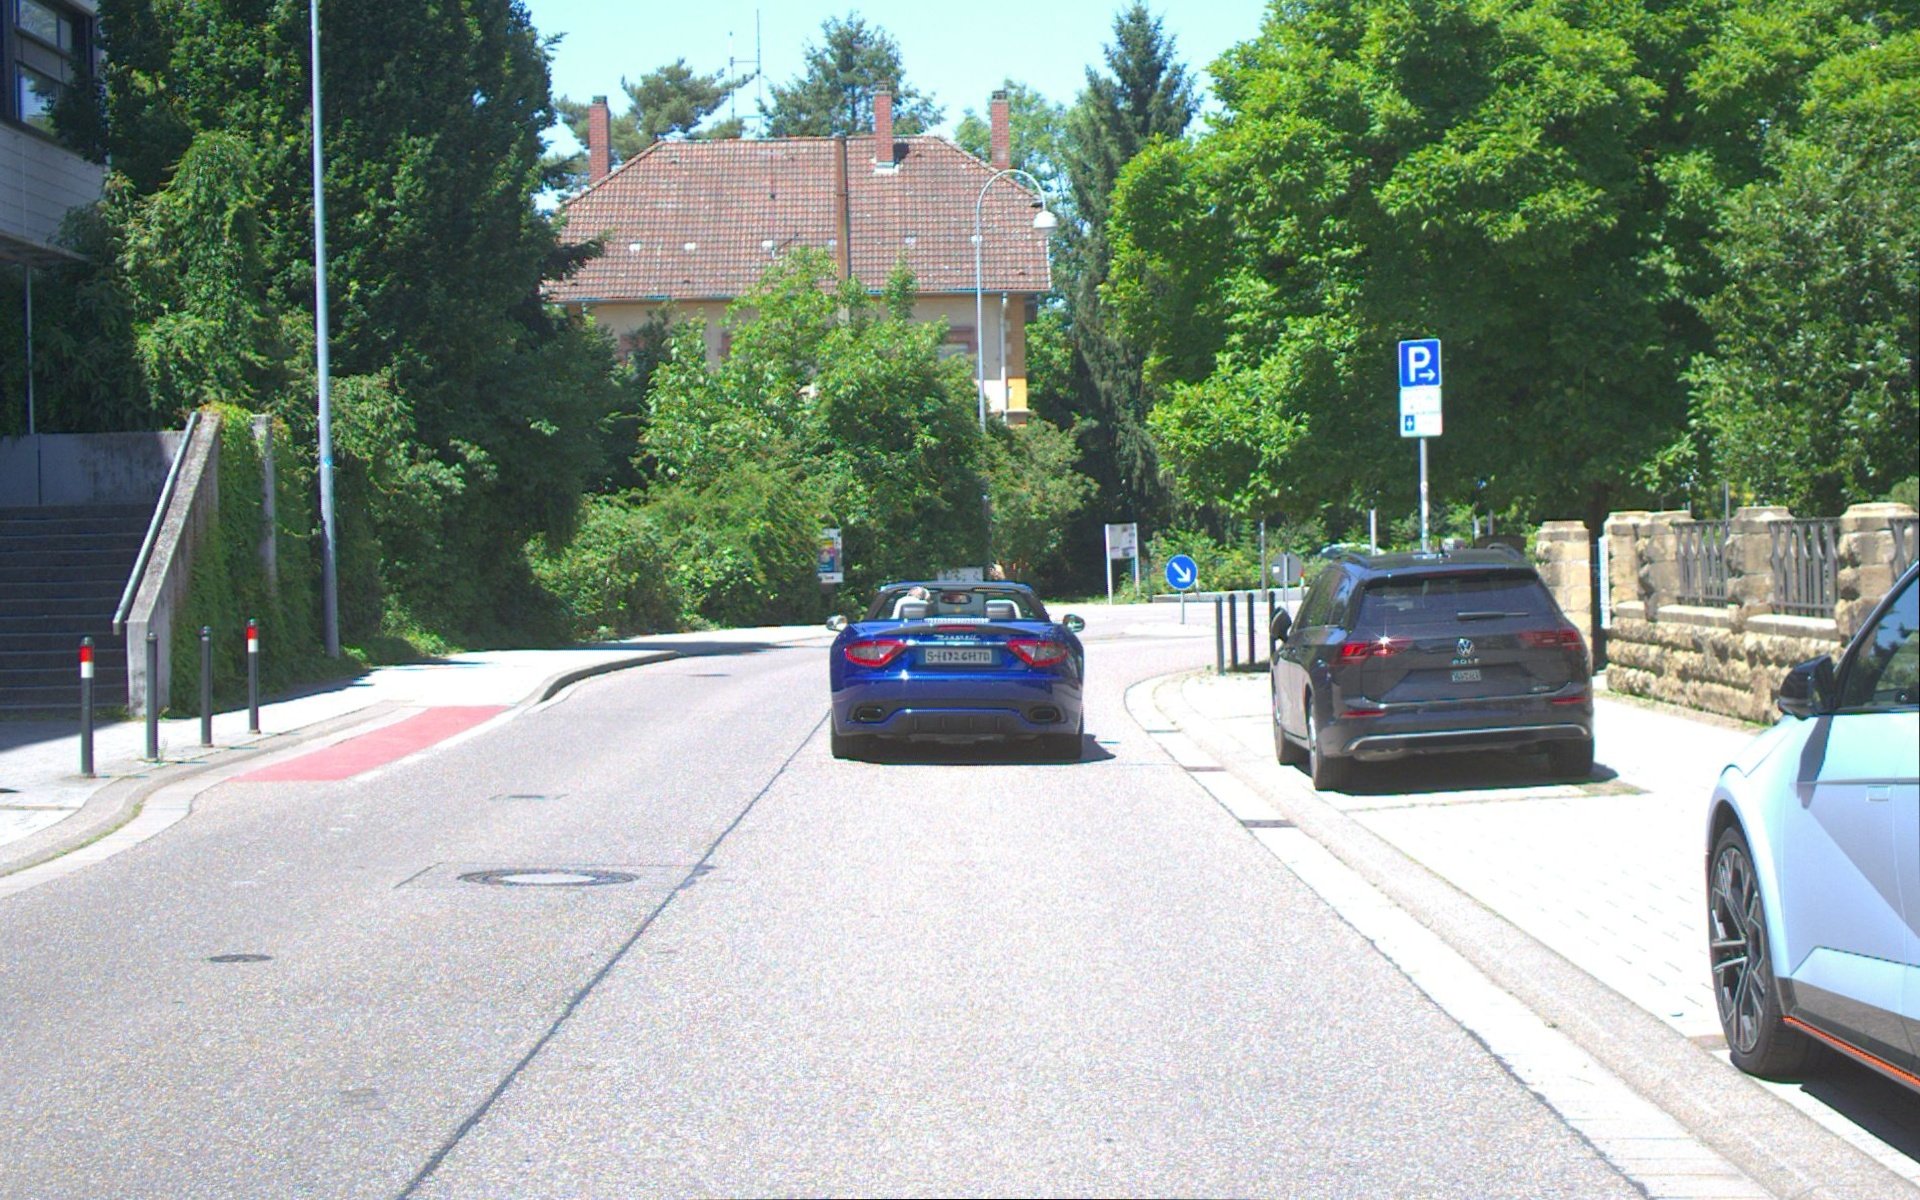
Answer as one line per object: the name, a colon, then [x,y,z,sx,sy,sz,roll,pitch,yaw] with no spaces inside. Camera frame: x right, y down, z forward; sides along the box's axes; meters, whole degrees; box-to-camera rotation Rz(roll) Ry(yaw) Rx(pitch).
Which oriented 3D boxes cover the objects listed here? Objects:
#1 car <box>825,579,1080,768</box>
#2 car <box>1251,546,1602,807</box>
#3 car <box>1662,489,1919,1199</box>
car: [-0.051,0.516,27.032,1.826,1.332,4.700,0,1,0]
car: [2.959,0.419,22.639,1.631,1.441,4.398,-4,1,0]
car: [3.038,0.508,8.064,1.843,1.614,4.427,-3,1,1]
